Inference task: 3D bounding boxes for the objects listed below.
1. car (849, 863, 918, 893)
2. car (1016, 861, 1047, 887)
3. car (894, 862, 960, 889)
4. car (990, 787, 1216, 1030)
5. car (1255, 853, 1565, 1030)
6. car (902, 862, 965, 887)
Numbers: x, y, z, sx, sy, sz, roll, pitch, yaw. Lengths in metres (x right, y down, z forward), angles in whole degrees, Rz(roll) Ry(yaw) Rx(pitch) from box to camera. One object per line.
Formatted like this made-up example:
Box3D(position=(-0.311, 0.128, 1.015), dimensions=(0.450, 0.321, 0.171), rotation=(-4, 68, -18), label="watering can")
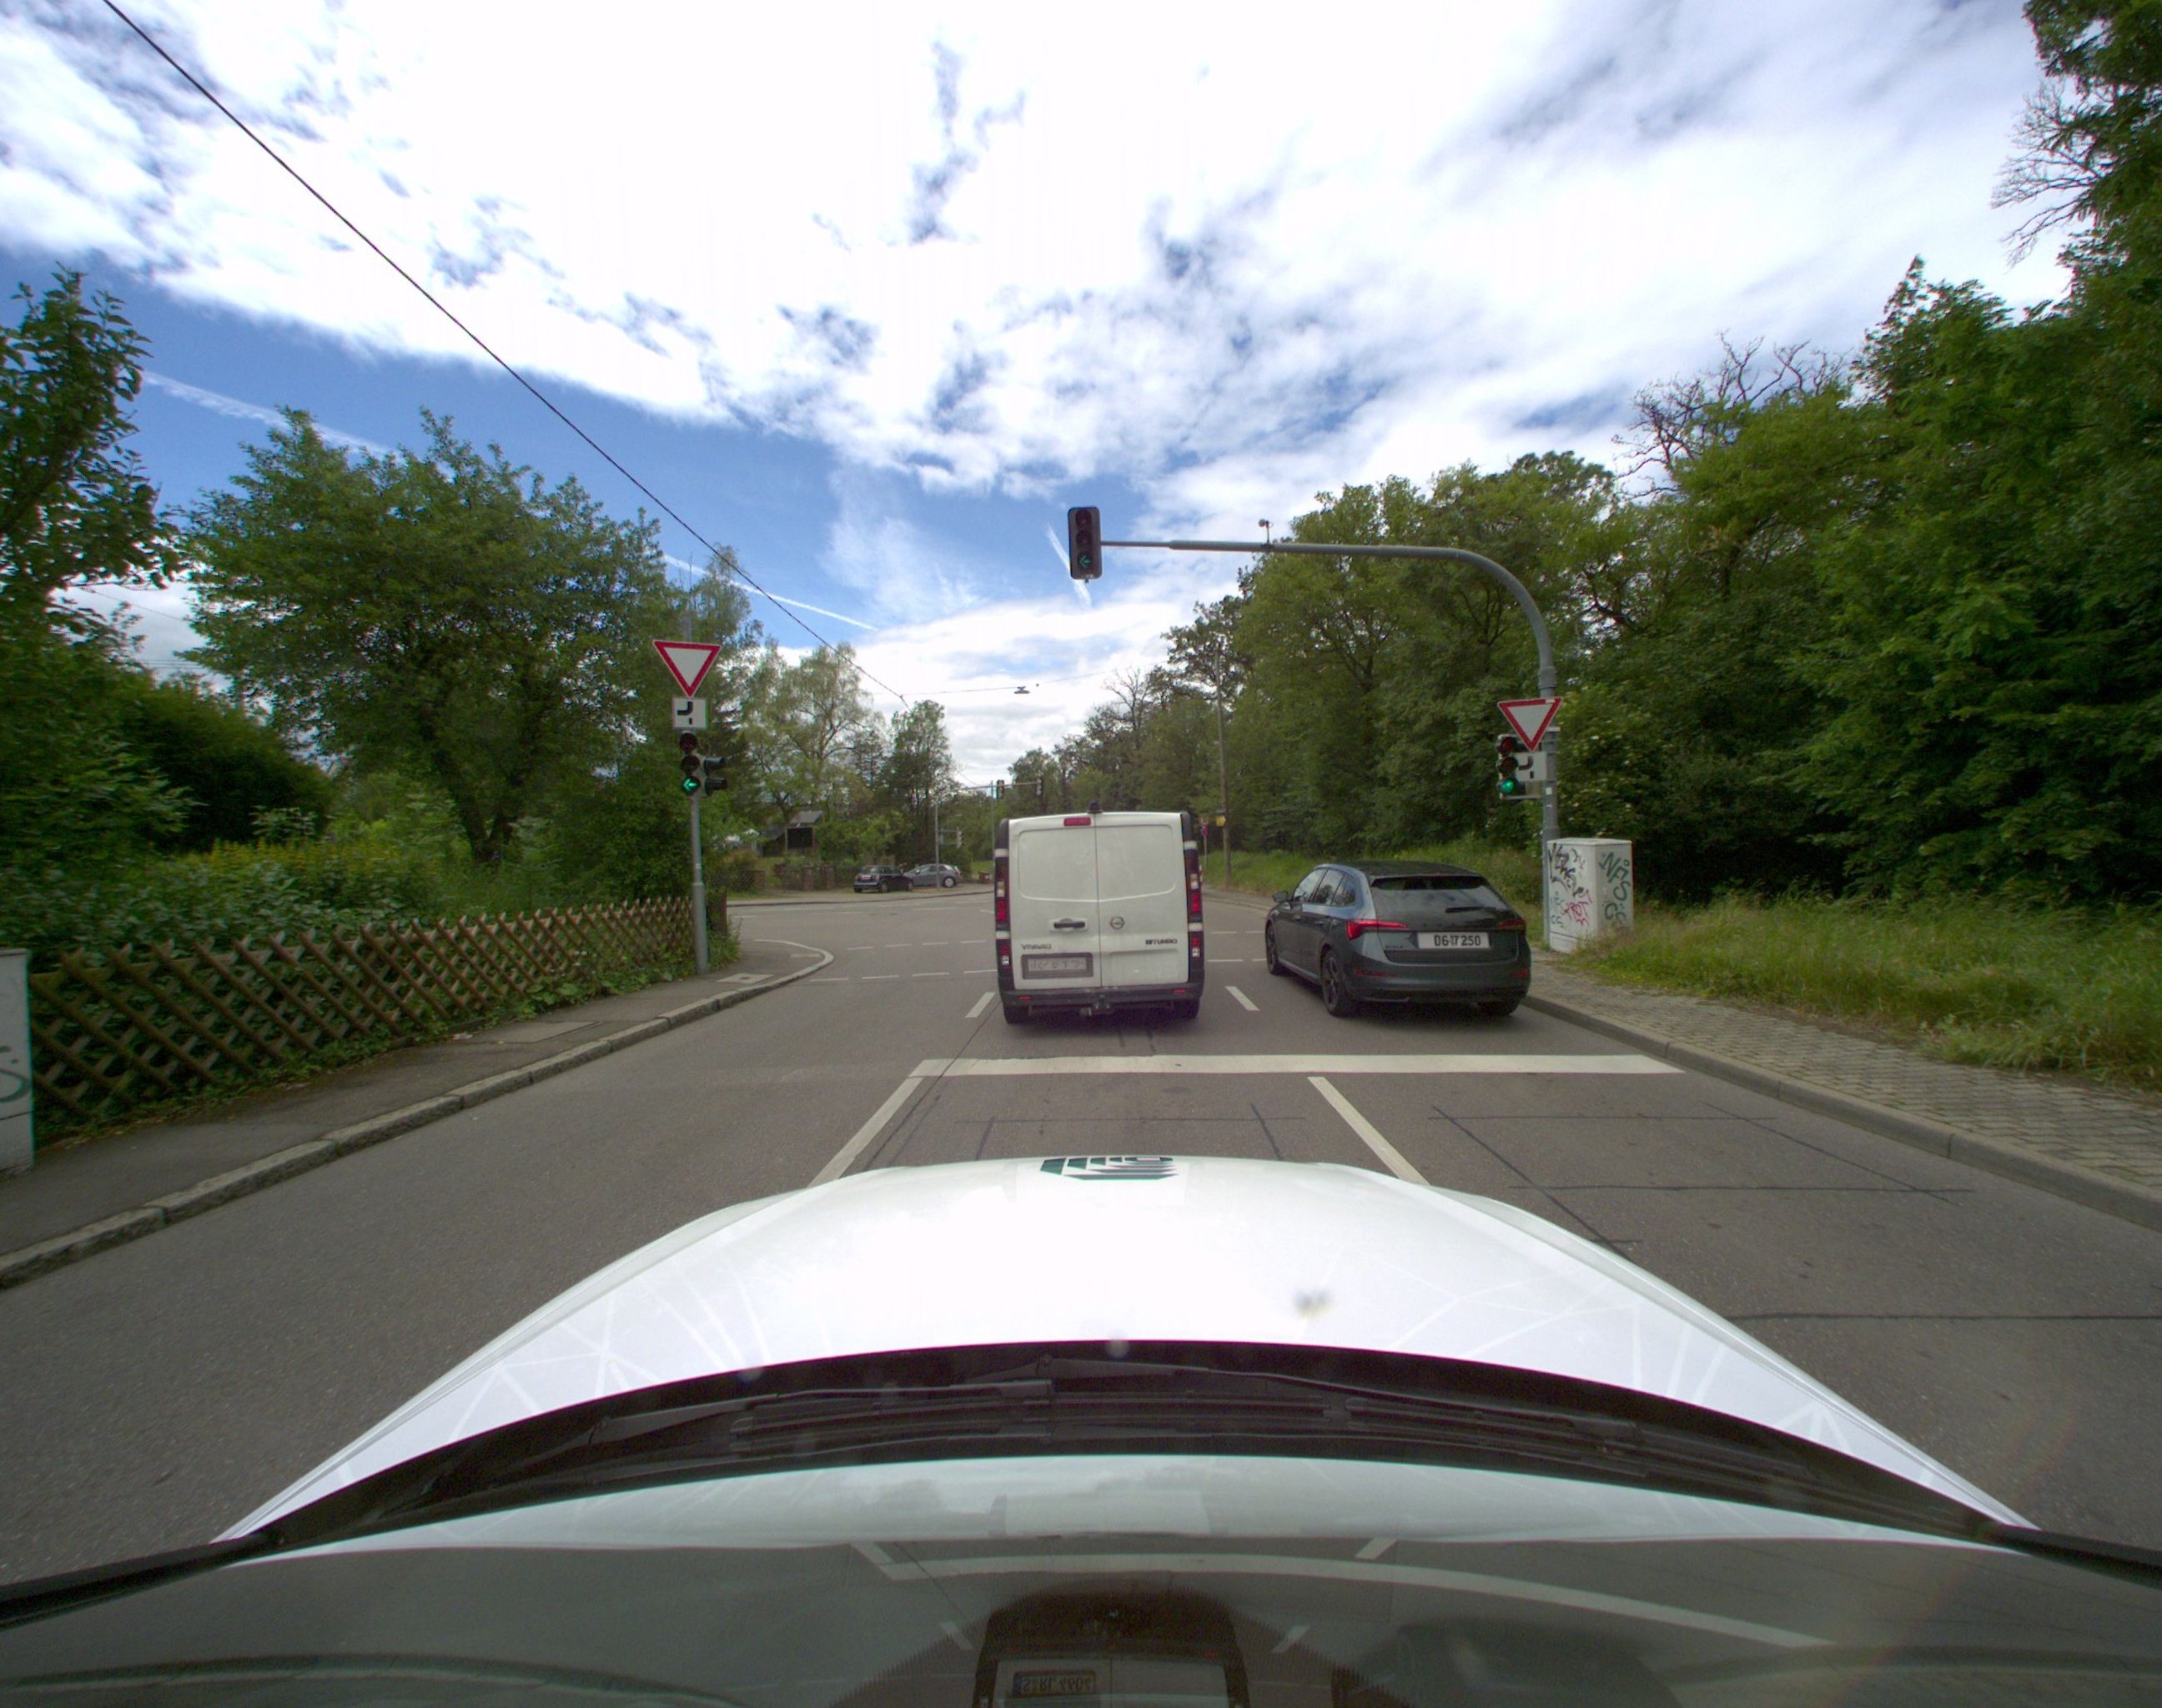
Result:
Box3D(position=(-10.217, 1.222, 42.361), dimensions=(1.683, 1.449, 3.562), rotation=(1, 0, 22), label="car")
Box3D(position=(-3.107, 1.257, 51.625), dimensions=(1.852, 1.507, 3.996), rotation=(-2, 0, -2), label="car")
Box3D(position=(-9.957, 1.366, 52.551), dimensions=(4.094, 1.553, 1.845), rotation=(-1, 0, -16), label="car")
Box3D(position=(0.187, 0.469, 9.196), dimensions=(1.910, 2.053, 4.613), rotation=(0, 0, 0), label="car")
Box3D(position=(3.215, 0.750, 8.894), dimensions=(1.786, 1.450, 4.000), rotation=(-1, 0, 1), label="car")
Box3D(position=(-10.097, 1.375, 55.723), dimensions=(4.094, 1.553, 1.845), rotation=(-1, 0, -16), label="car")
